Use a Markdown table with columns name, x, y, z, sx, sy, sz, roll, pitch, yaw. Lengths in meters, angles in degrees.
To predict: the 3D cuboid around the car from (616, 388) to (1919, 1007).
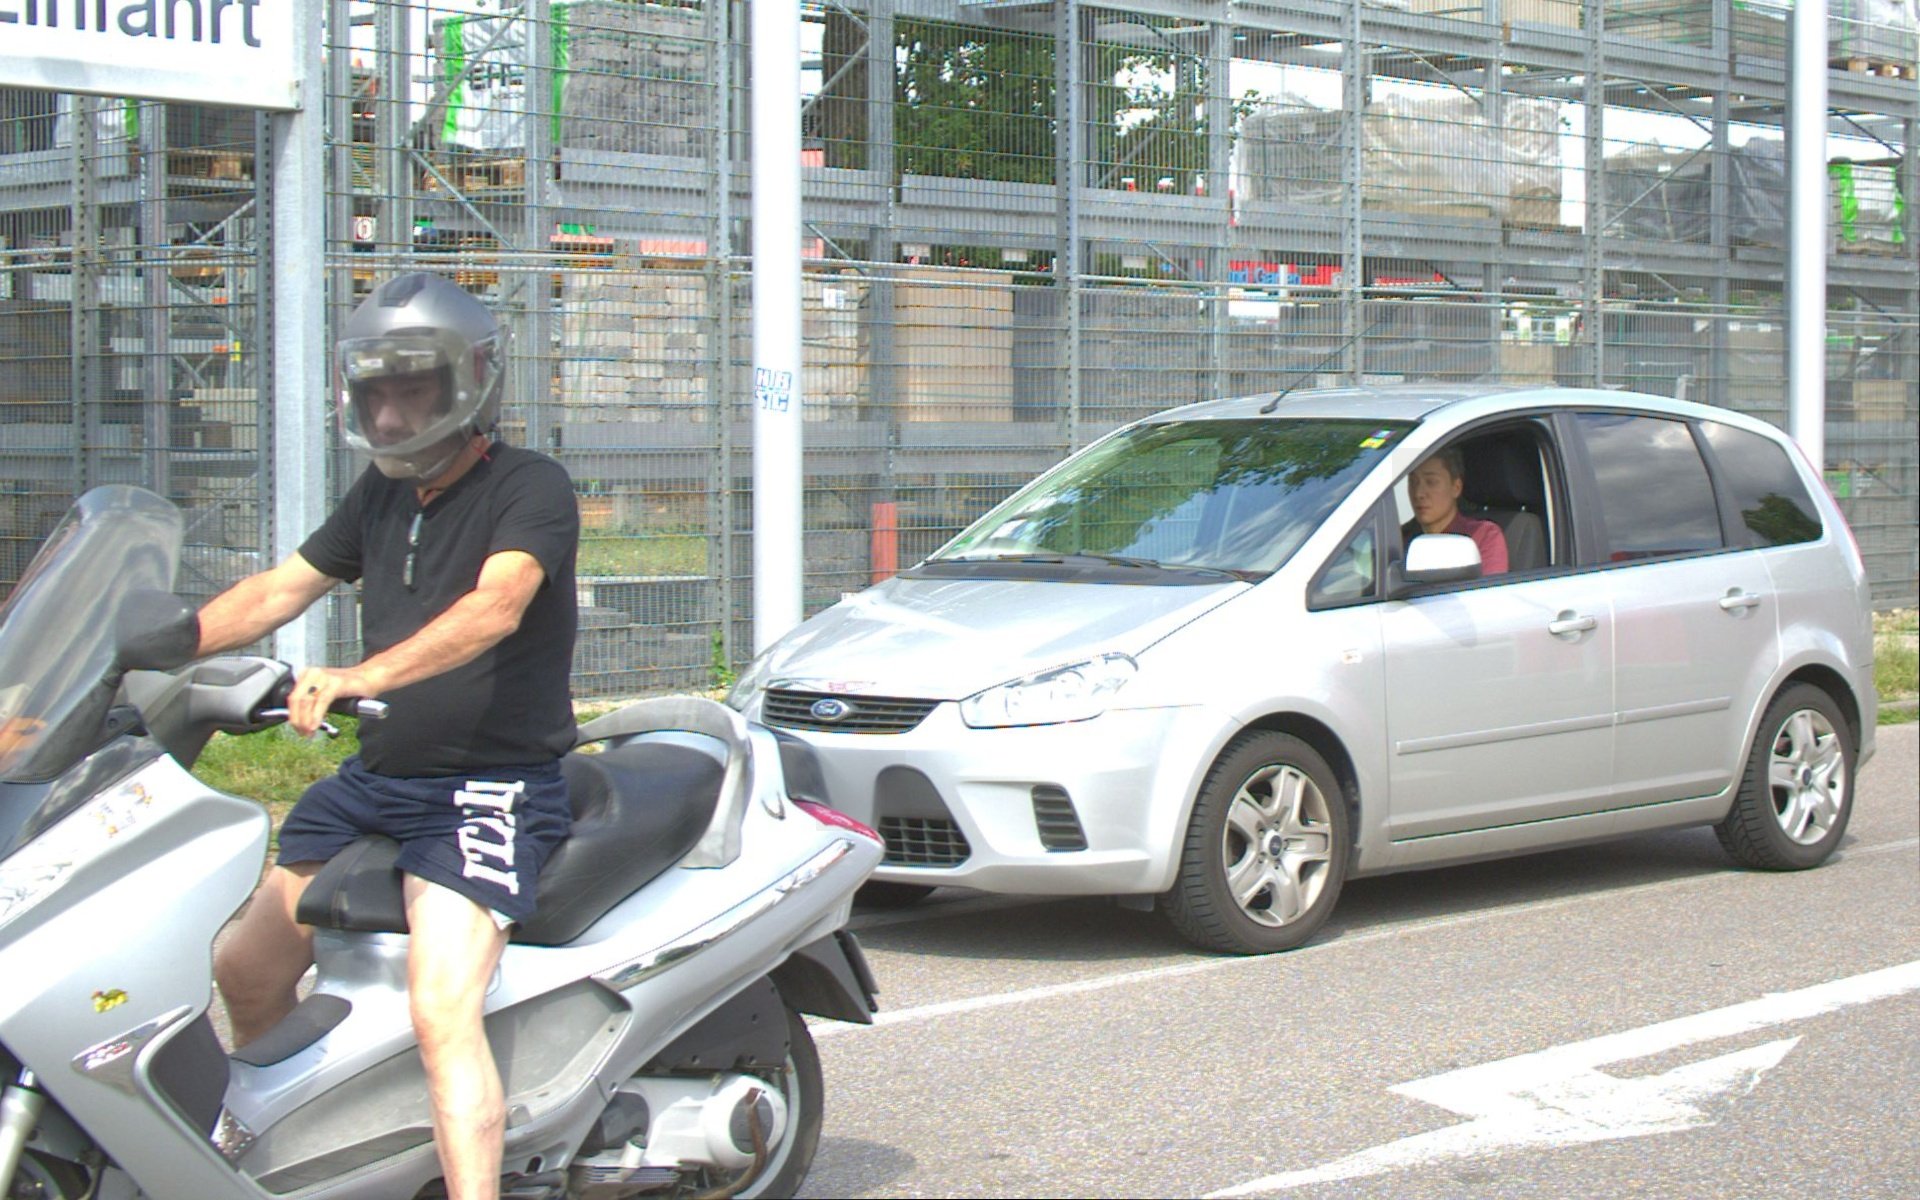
| name | x | y | z | sx | sy | sz | roll | pitch | yaw |
| --- | --- | --- | --- | --- | --- | --- | --- | --- | --- |
| car | 1.133 | 0.135 | 10.691 | 4.198 | 1.559 | 1.722 | -3 | 4 | -43 |

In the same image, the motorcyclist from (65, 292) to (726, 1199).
| name | x | y | z | sx | sy | sz | roll | pitch | yaw |
| --- | --- | --- | --- | --- | --- | --- | --- | --- | --- |
| motorcyclist | -0.888 | 0.349 | 5.409 | 0.684 | 1.623 | 0.789 | -3 | 4 | -44 |

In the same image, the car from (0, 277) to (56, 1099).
| name | x | y | z | sx | sy | sz | roll | pitch | yaw |
| --- | --- | --- | --- | --- | --- | --- | --- | --- | --- |
| car | -4.179 | 0.293 | 6.483 | 4.373 | 1.660 | 1.770 | -5 | 5 | -34 |

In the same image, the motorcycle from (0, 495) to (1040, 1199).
| name | x | y | z | sx | sy | sz | roll | pitch | yaw |
| --- | --- | --- | --- | --- | --- | --- | --- | --- | --- |
| motorcycle | -0.887 | 0.509 | 5.417 | 2.207 | 1.301 | 0.672 | -3 | 4 | -44 |
